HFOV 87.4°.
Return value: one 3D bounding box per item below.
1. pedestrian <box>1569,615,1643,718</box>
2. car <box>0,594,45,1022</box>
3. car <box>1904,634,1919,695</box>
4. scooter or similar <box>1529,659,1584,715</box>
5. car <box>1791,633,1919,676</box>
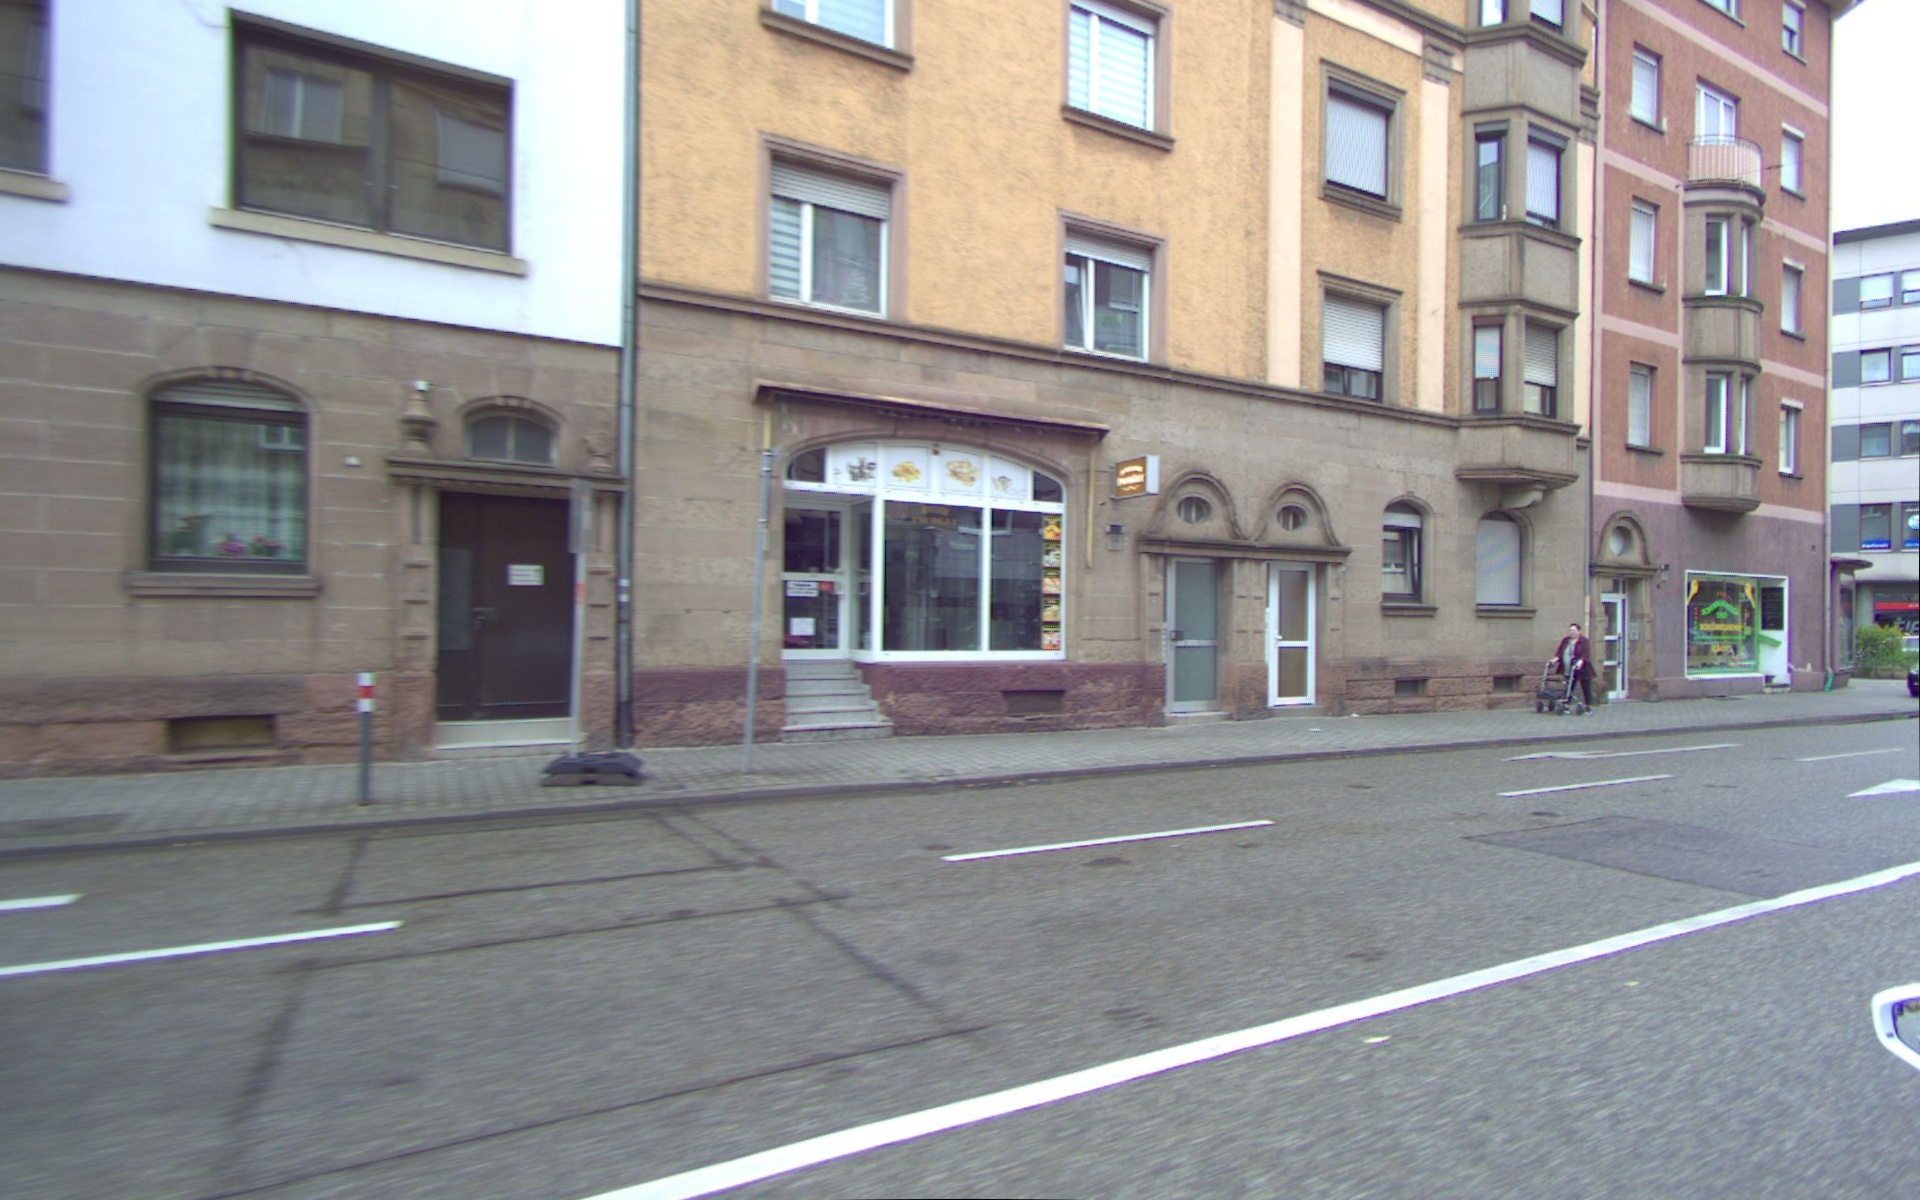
[{"bbox_3d":[11.260,1.135,17.512,0.847,1.701,0.835,2,1,-41],"label":"pedestrian"},{"bbox_3d":[-4.967,0.643,1.820,4.506,1.490,1.934,2,-2,-30],"label":"car"},{"bbox_3d":[24.657,1.588,23.921,4.736,1.416,1.841,2,2,-30],"label":"car"},{"bbox_3d":[10.659,1.543,17.966,0.477,0.937,0.705,2,0,-41],"label":"scooter or similar"},{"bbox_3d":[35.195,2.102,38.806,4.564,1.553,1.901,0,-2,33],"label":"car"}]
